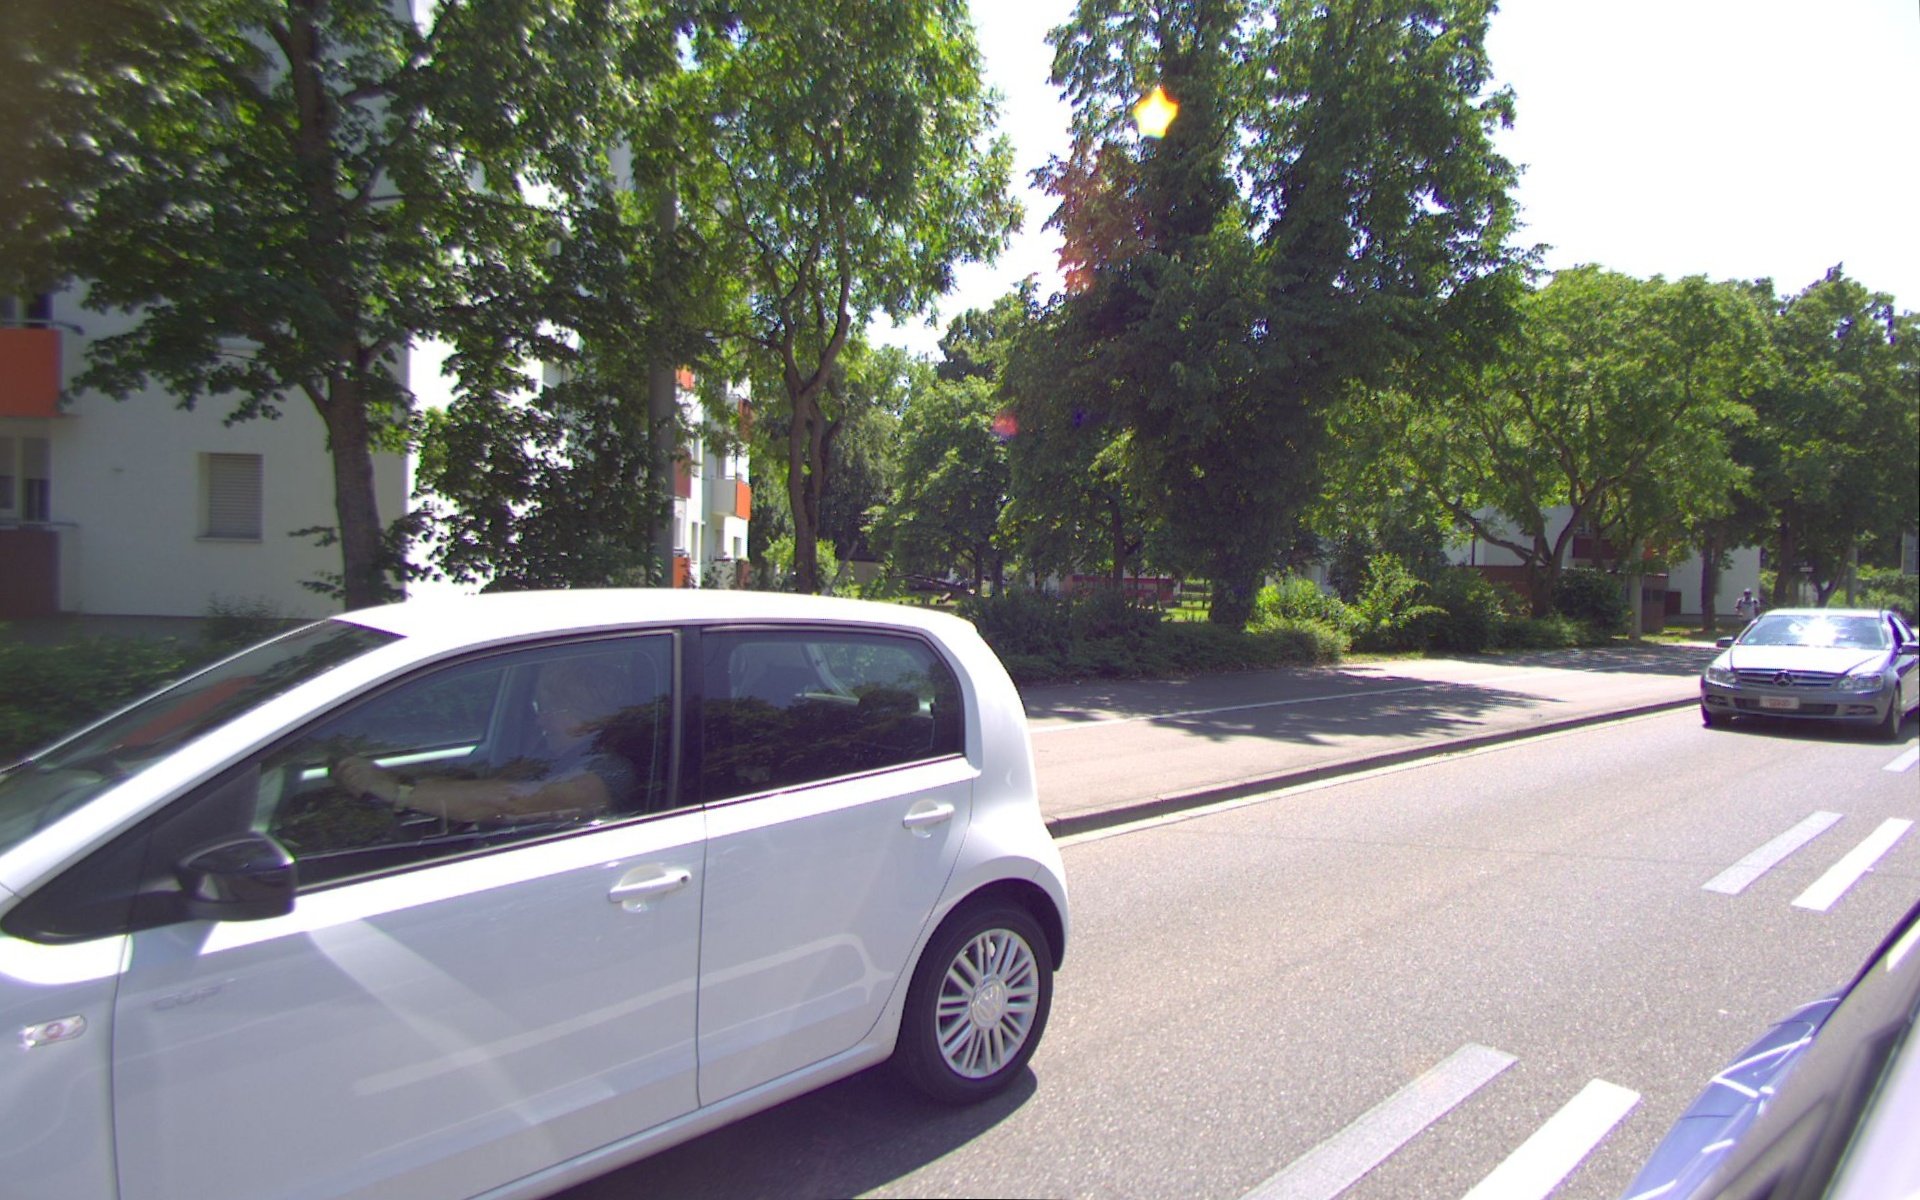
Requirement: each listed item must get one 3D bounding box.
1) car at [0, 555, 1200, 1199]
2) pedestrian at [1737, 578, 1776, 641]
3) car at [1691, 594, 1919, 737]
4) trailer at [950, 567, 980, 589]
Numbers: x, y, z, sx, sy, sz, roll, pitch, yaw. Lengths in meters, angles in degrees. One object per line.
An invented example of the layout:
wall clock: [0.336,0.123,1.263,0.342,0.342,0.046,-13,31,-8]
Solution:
car: [-1.114,0.655,2.920,3.788,1.467,1.661,0,0,-42]
pedestrian: [21.824,0.249,27.731,0.841,1.664,0.670,0,1,-39]
car: [10.739,0.691,12.498,3.900,1.478,1.902,1,0,-40]
trailer: [0.868,-3.701,168.497,1.962,3.554,5.868,0,1,-34]
